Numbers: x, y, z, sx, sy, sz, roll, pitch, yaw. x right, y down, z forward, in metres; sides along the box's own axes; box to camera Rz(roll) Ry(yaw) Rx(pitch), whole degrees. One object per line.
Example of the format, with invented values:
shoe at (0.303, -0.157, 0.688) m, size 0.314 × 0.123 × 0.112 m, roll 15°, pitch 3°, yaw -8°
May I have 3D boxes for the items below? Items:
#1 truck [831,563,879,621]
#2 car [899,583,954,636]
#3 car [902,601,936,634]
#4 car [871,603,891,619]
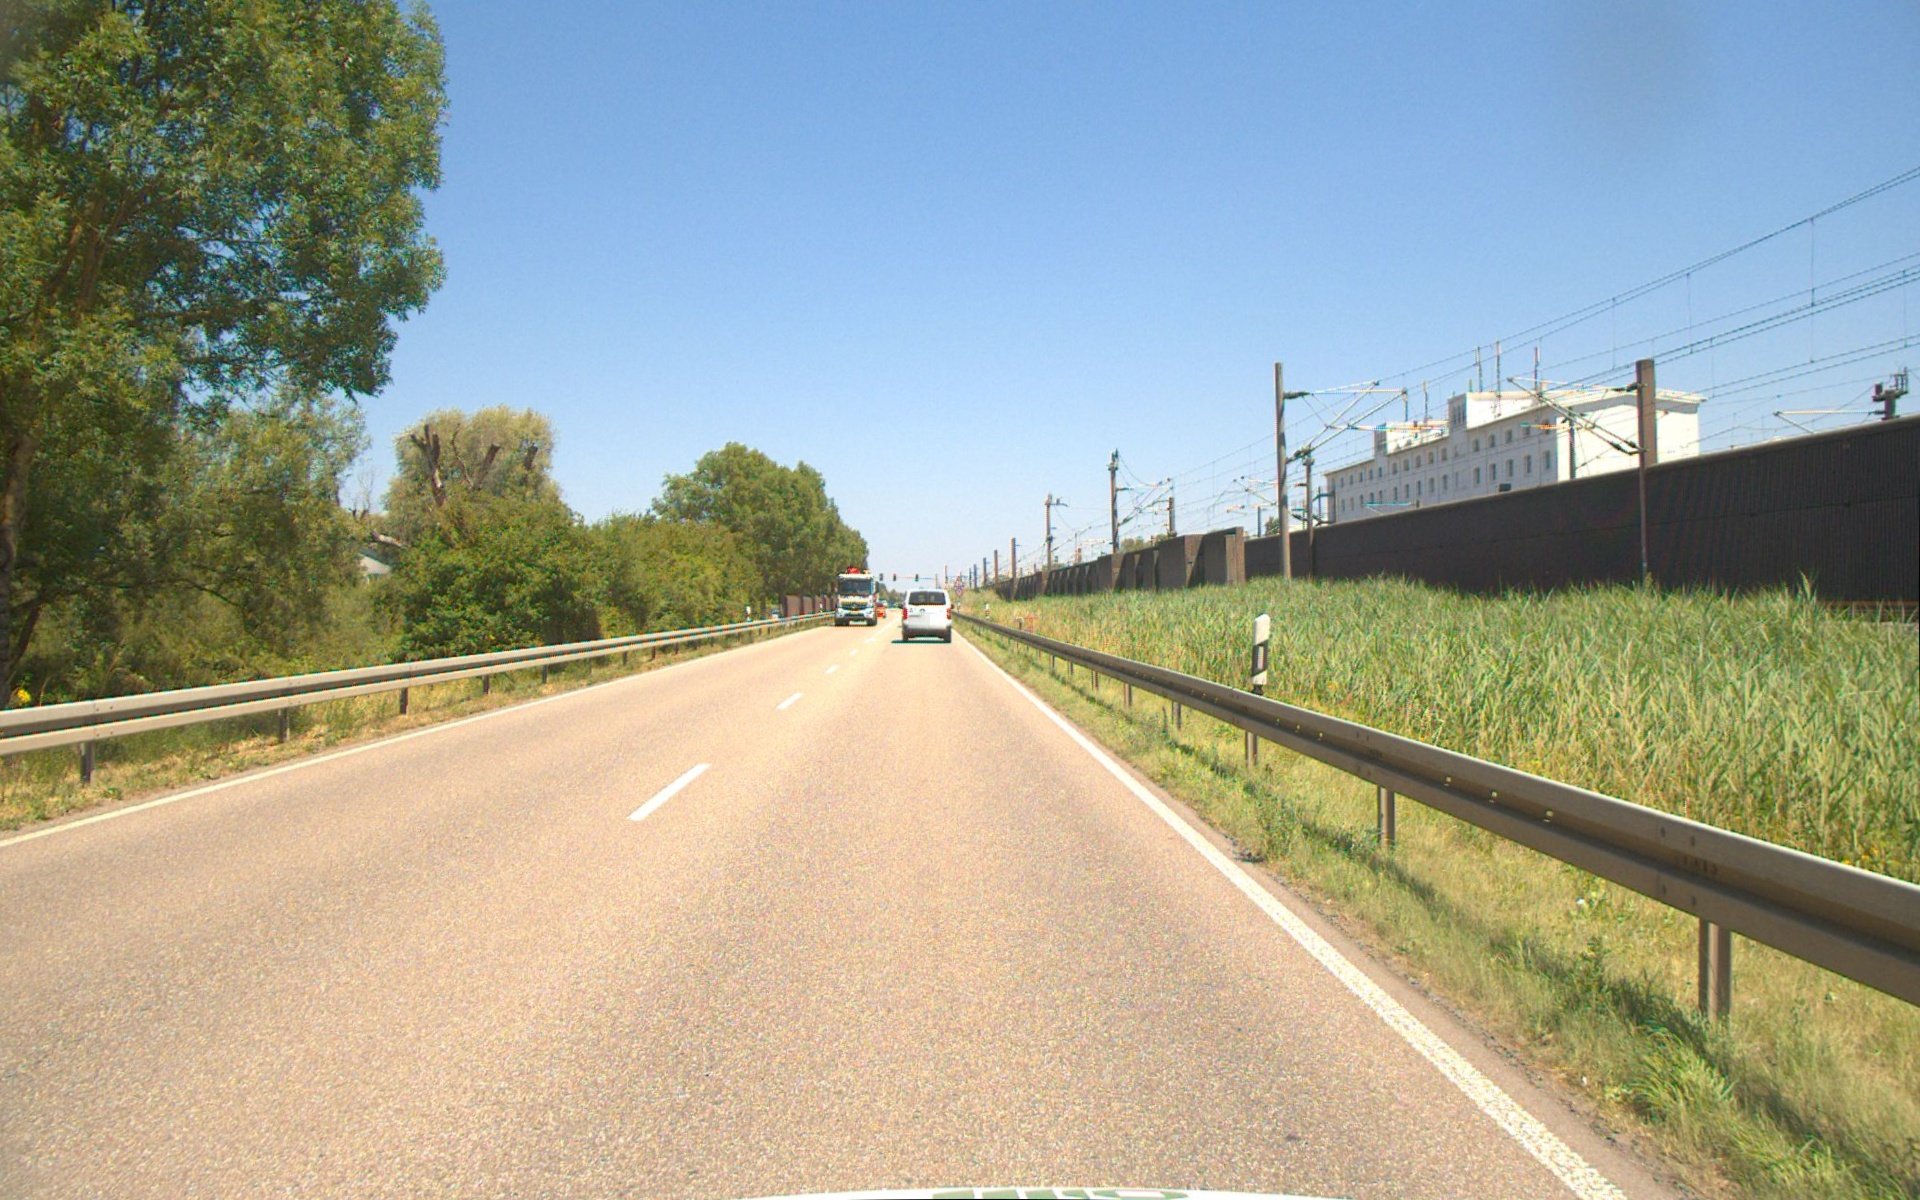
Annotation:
truck at (-6.541, -0.519, 103.758) m, size 2.727 × 3.464 × 7.986 m, roll 1°, pitch 0°, yaw -2°
car at (-1.260, 0.331, 61.525) m, size 1.953 × 1.882 × 3.999 m, roll 1°, pitch 0°, yaw -1°
car at (-2.456, 1.018, 99.322) m, size 1.953 × 1.882 × 3.999 m, roll 1°, pitch 0°, yaw -1°
car at (-7.261, 0.977, 152.669) m, size 1.753 × 1.446 × 3.999 m, roll 0°, pitch 0°, yaw -2°
